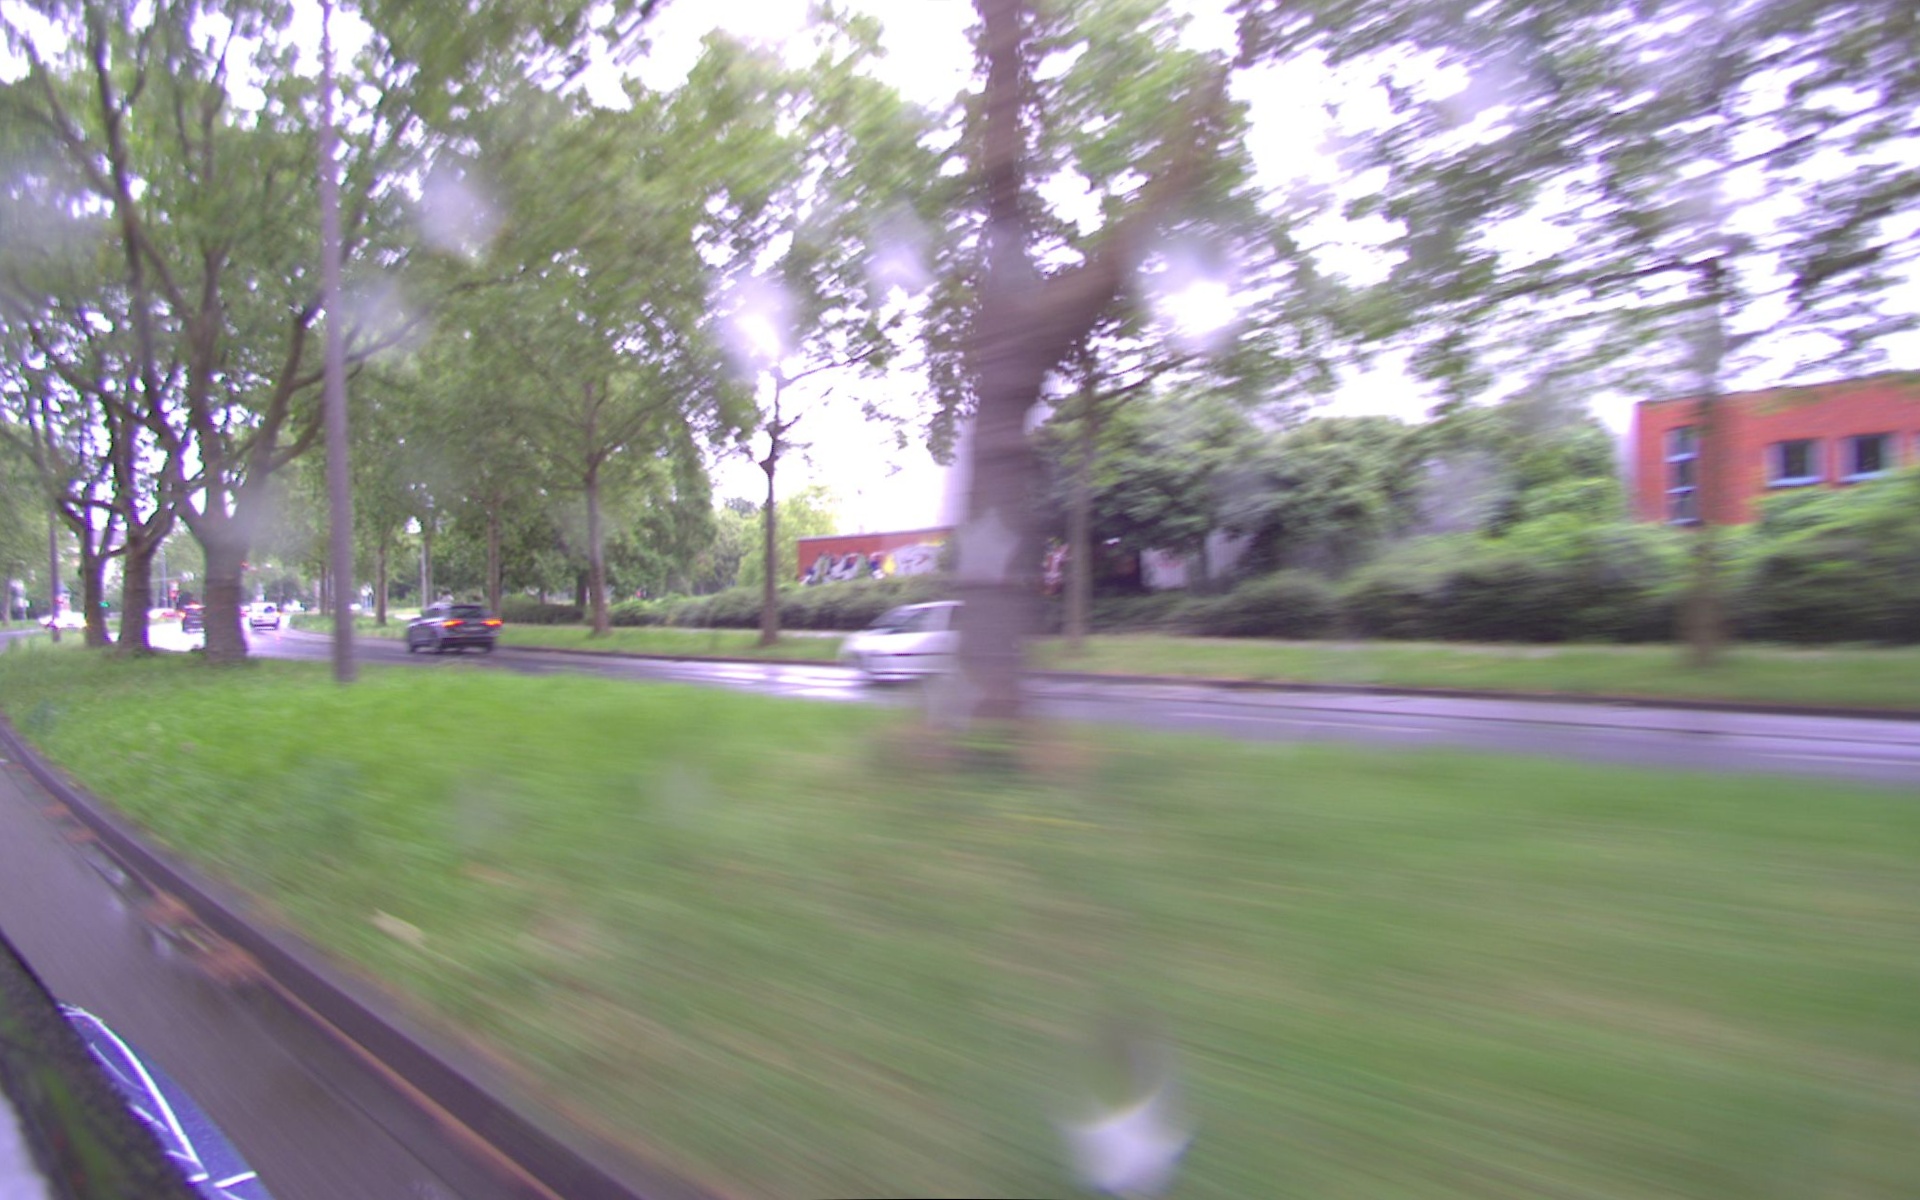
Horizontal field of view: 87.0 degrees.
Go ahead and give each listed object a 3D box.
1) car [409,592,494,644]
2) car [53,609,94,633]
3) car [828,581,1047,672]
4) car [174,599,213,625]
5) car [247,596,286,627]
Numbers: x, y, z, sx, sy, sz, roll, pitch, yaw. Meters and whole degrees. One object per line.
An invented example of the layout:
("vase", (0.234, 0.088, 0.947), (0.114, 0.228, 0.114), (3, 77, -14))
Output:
("car", (-17.099, 0.571, 33.911), (1.721, 1.573, 4.377), (-2, 1, -38))
("car", (-68.967, 1.601, 78.774), (1.968, 1.641, 4.532), (-3, 2, -37))
("car", (-0.482, 0.437, 18.441), (3.841, 1.470, 1.725), (-1, 1, 42))
("car", (-54.931, 0.858, 72.565), (2.003, 1.749, 4.967), (-2, 1, -35))
("car", (-52.180, 0.834, 76.234), (2.002, 2.243, 5.451), (-2, 1, -30))
